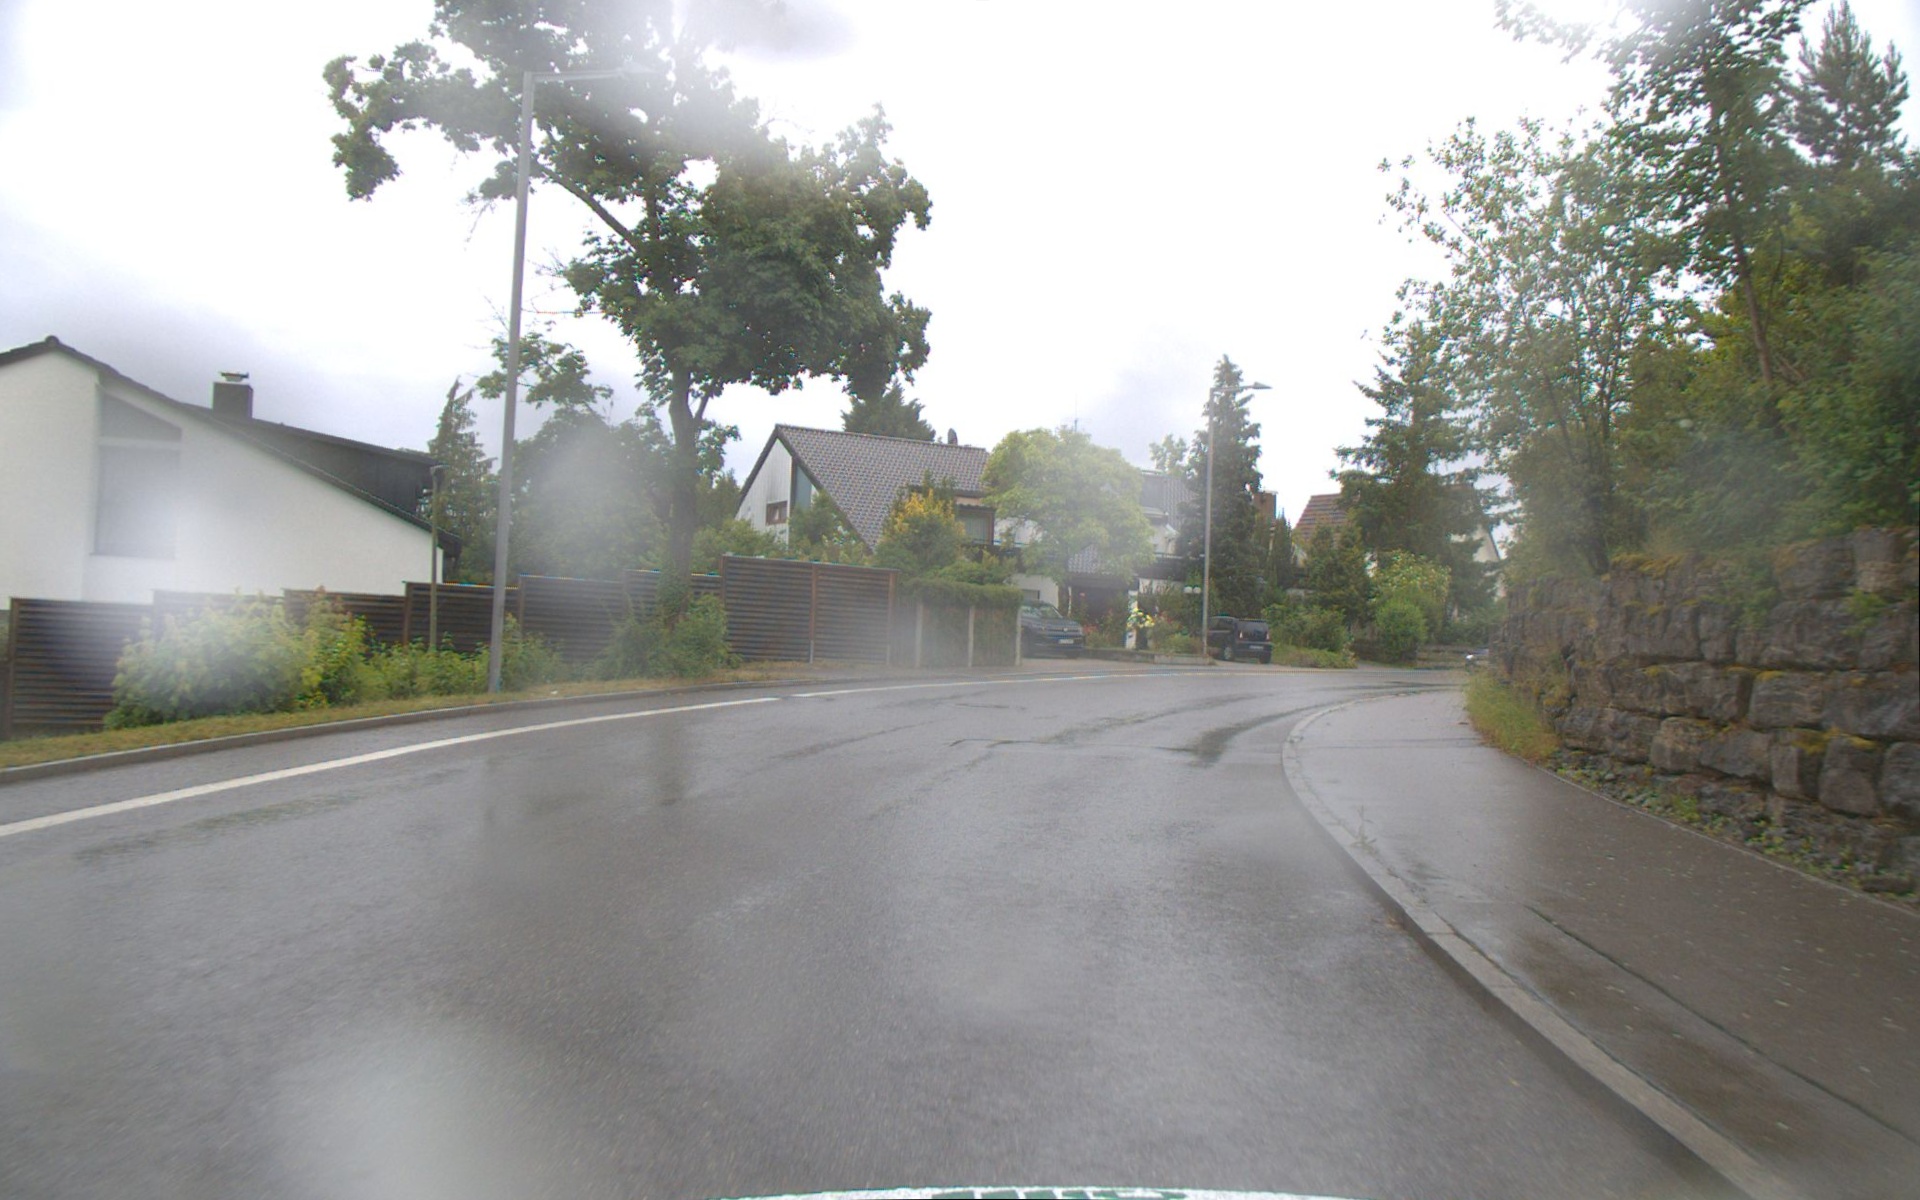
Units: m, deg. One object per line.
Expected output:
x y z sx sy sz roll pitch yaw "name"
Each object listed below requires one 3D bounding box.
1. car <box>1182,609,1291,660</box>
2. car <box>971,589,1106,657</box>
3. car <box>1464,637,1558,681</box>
9.334 1.147 56.220 1.906 1.413 3.978 5 0 -19 "car"
2.269 0.648 48.978 1.989 1.659 3.956 5 0 -33 "car"
20.001 2.147 59.938 1.751 1.445 4.141 2 -1 41 "car"
